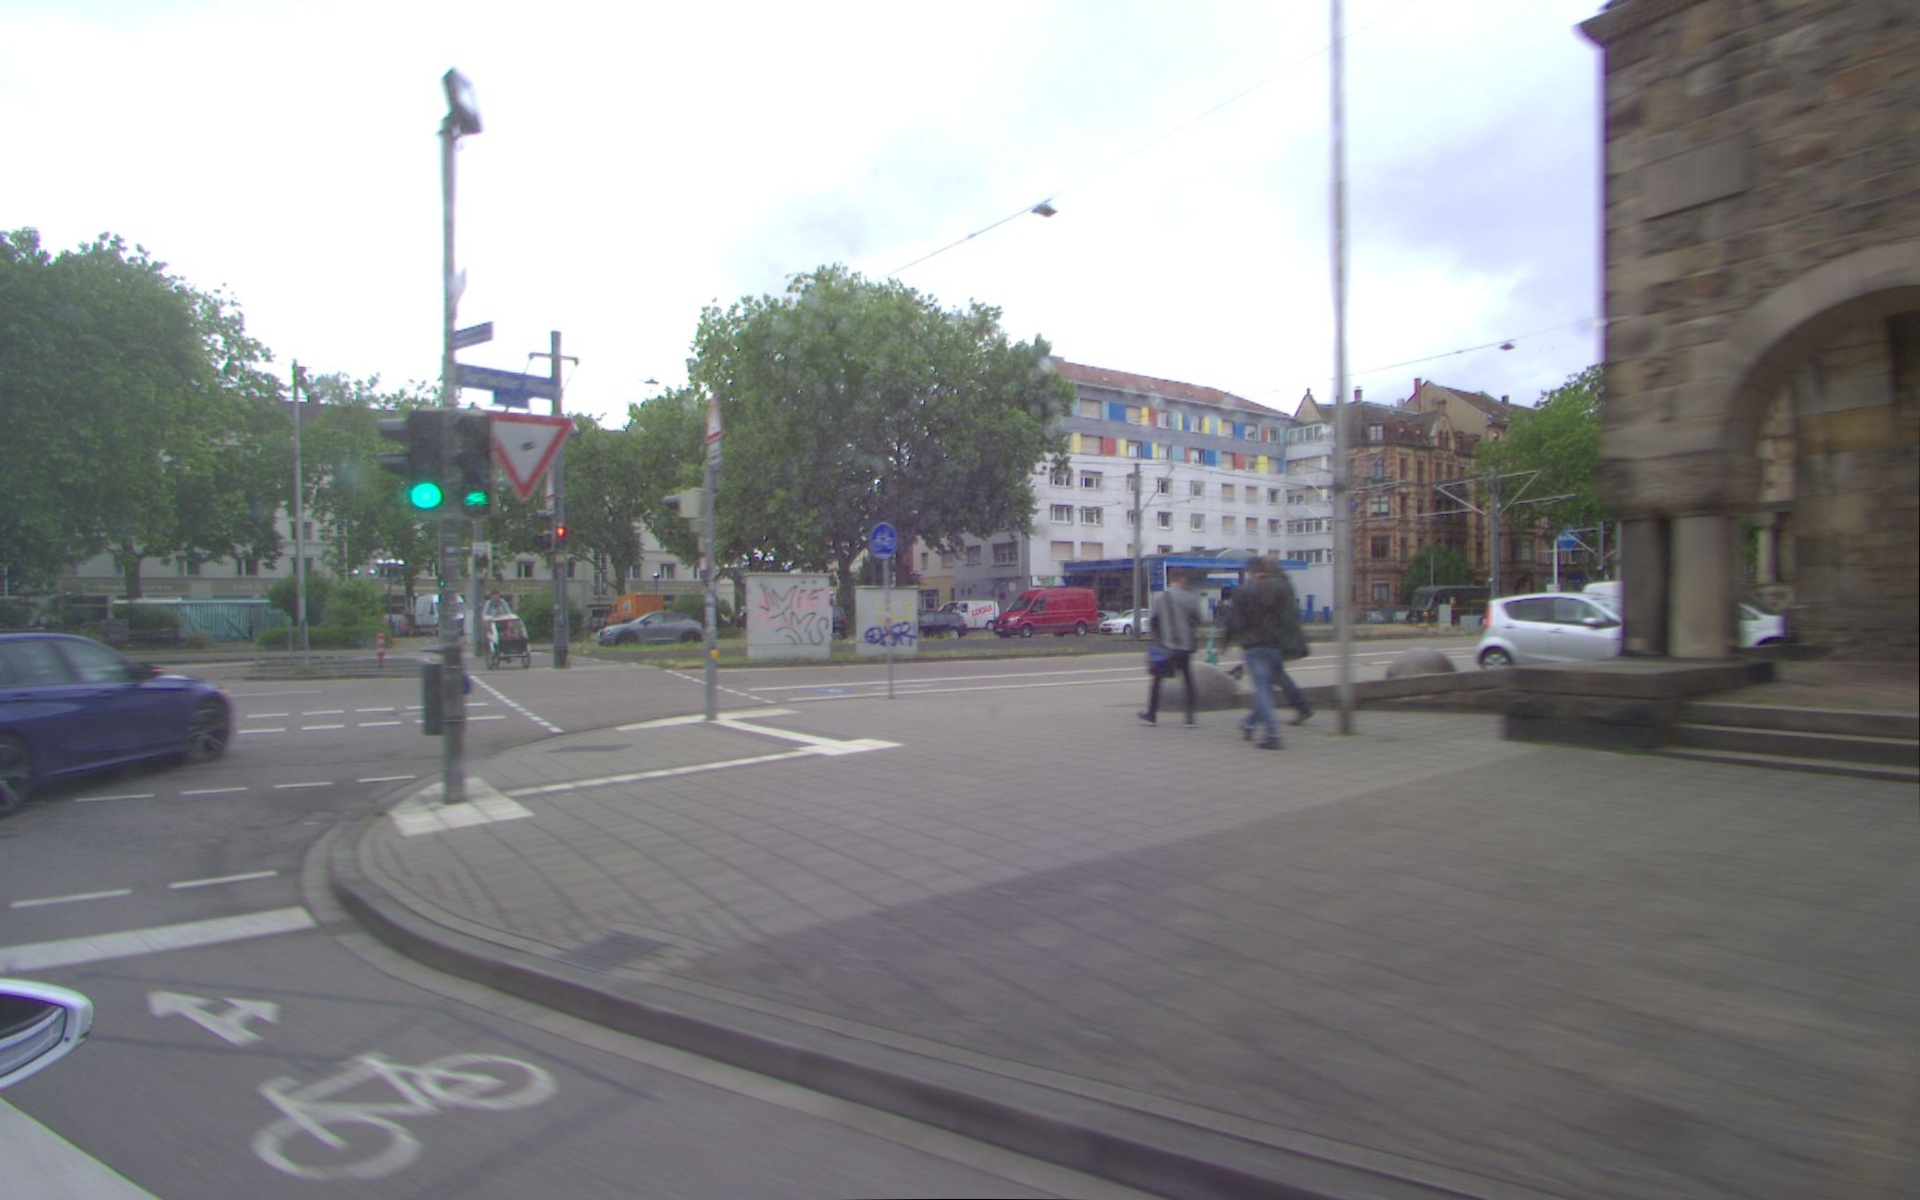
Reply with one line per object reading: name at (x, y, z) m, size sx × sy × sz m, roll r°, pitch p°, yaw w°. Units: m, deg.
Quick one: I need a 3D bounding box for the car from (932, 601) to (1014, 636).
car at (0.839, 1.150, 63.638) m, size 5.022 × 2.123 × 1.979 m, roll -1°, pitch 0°, yaw -35°

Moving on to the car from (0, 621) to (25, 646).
car at (-60.552, 2.092, 63.029) m, size 1.777 × 1.564 × 3.805 m, roll -1°, pitch 0°, yaw -32°

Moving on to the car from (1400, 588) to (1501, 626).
car at (38.236, 0.556, 78.132) m, size 6.970 × 2.764 × 2.247 m, roll -1°, pitch -1°, yaw -6°

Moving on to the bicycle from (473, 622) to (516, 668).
bicycle at (-10.735, 1.010, 23.065) m, size 0.546 × 1.009 × 2.047 m, roll -1°, pitch 0°, yaw -35°

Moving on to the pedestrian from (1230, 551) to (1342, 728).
pedestrian at (3.473, 0.390, 10.649) m, size 0.955 × 1.783 × 0.802 m, roll 0°, pitch 3°, yaw 32°

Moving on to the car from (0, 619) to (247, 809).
car at (-8.441, 0.910, 8.785) m, size 1.787 × 1.424 × 4.317 m, roll -1°, pitch 0°, yaw -9°

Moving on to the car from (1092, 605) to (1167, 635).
car at (9.458, 1.112, 55.808) m, size 4.096 × 1.550 × 1.676 m, roll -1°, pitch 0°, yaw -35°

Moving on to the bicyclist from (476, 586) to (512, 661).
bicyclist at (-10.695, 0.531, 22.990) m, size 0.608 × 1.676 × 0.749 m, roll -1°, pitch 0°, yaw -36°

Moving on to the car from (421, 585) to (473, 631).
car at (-31.705, 0.512, 61.819) m, size 2.213 × 2.674 × 5.412 m, roll -1°, pitch 0°, yaw -34°

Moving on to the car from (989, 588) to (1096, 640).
car at (4.301, 0.695, 51.887) m, size 5.538 × 2.572 × 1.979 m, roll -1°, pitch 0°, yaw -35°

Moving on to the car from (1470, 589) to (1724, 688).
car at (11.098, 0.634, 17.650) m, size 1.596 × 1.550 × 3.448 m, roll -1°, pitch 0°, yaw -31°

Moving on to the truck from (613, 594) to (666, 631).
truck at (-23.716, 0.921, 73.994) m, size 2.362 × 2.625 × 3.964 m, roll 0°, pitch 0°, yaw -42°

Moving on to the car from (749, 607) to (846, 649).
car at (-7.197, 1.208, 44.425) m, size 3.899 × 1.734 × 1.676 m, roll -1°, pitch 0°, yaw -35°

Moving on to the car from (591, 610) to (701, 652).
car at (-12.716, 1.221, 40.668) m, size 3.938 × 1.582 × 1.676 m, roll -1°, pitch 0°, yaw -35°

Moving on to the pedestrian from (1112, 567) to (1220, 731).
pedestrian at (2.245, 0.509, 10.914) m, size 0.957 × 1.696 × 0.630 m, roll 0°, pitch 3°, yaw 39°

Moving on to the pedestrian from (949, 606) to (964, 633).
pedestrian at (-0.188, 1.148, 58.442) m, size 0.564 × 1.591 × 0.705 m, roll -1°, pitch 0°, yaw -34°

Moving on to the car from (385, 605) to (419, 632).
car at (-33.144, 1.102, 59.421) m, size 1.647 × 1.535 × 3.916 m, roll 0°, pitch 0°, yaw -31°

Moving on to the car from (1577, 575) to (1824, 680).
car at (14.040, 0.497, 19.156) m, size 1.664 × 1.816 × 3.448 m, roll -1°, pitch 0°, yaw -31°

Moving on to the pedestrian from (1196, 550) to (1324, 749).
pedestrian at (2.730, 0.420, 9.100) m, size 0.955 × 1.709 × 0.672 m, roll 0°, pitch 3°, yaw 32°

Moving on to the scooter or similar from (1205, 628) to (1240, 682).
scooter or similar at (5.389, 1.118, 20.528) m, size 0.762 × 1.067 × 0.238 m, roll -1°, pitch 0°, yaw -33°

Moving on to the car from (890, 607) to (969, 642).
car at (-1.443, 1.145, 47.894) m, size 3.422 × 1.582 × 1.676 m, roll -1°, pitch 0°, yaw -35°
